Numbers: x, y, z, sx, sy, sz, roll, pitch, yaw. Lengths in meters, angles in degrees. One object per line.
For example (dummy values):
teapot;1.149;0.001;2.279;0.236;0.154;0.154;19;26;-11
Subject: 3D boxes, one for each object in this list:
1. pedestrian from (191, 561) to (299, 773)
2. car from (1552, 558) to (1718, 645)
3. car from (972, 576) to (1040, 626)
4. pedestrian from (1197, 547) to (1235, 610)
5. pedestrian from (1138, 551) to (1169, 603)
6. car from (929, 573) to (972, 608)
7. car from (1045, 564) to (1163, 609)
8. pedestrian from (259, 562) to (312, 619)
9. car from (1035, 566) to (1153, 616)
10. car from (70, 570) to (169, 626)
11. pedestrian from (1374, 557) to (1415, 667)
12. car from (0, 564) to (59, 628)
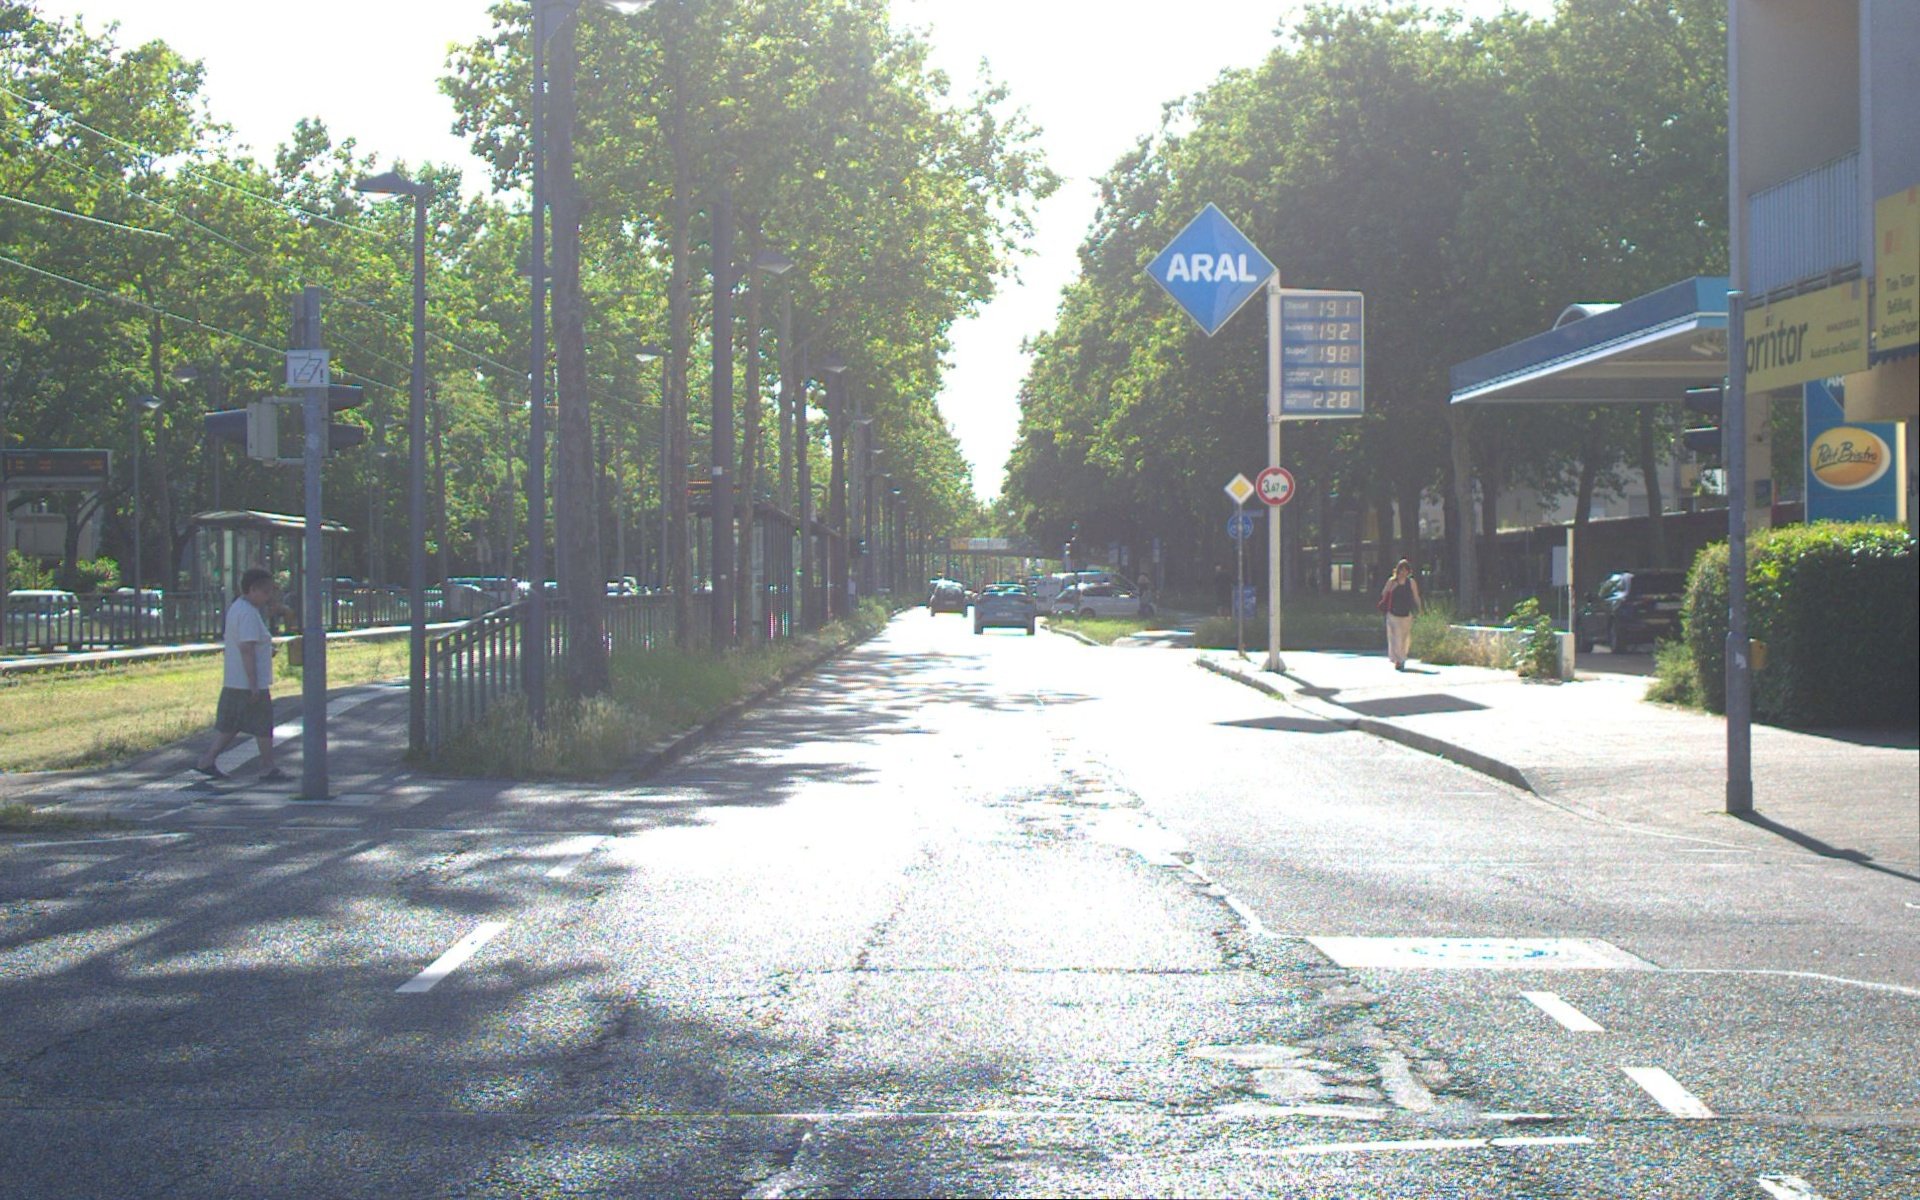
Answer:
pedestrian;-5.229;0.479;25.132;0.658;1.523;0.539;0;0;-26
car;11.700;0.012;59.789;1.720;1.458;4.006;0;0;-6
car;1.338;0.018;101.580;1.922;1.406;4.000;1;1;0
pedestrian;7.684;-0.642;103.165;0.925;1.878;0.800;0;1;-14
pedestrian;6.474;-0.761;114.973;0.710;1.700;0.654;-2;0;-34
car;-0.412;-0.422;153.546;1.849;1.530;3.866;0;1;1
car;5.307;-0.498;126.815;3.985;1.464;1.761;-3;1;-31
pedestrian;-15.089;-0.219;76.950;0.838;1.256;0.798;1;0;29
car;5.350;-0.365;137.083;4.657;1.846;1.830;-2;0;-40
car;-24.169;-0.072;98.992;1.714;1.540;4.200;0;1;1
pedestrian;6.704;0.183;53.084;0.604;1.696;0.552;0;0;4
car;-23.926;-0.107;85.767;1.714;1.540;3.933;0;1;3
